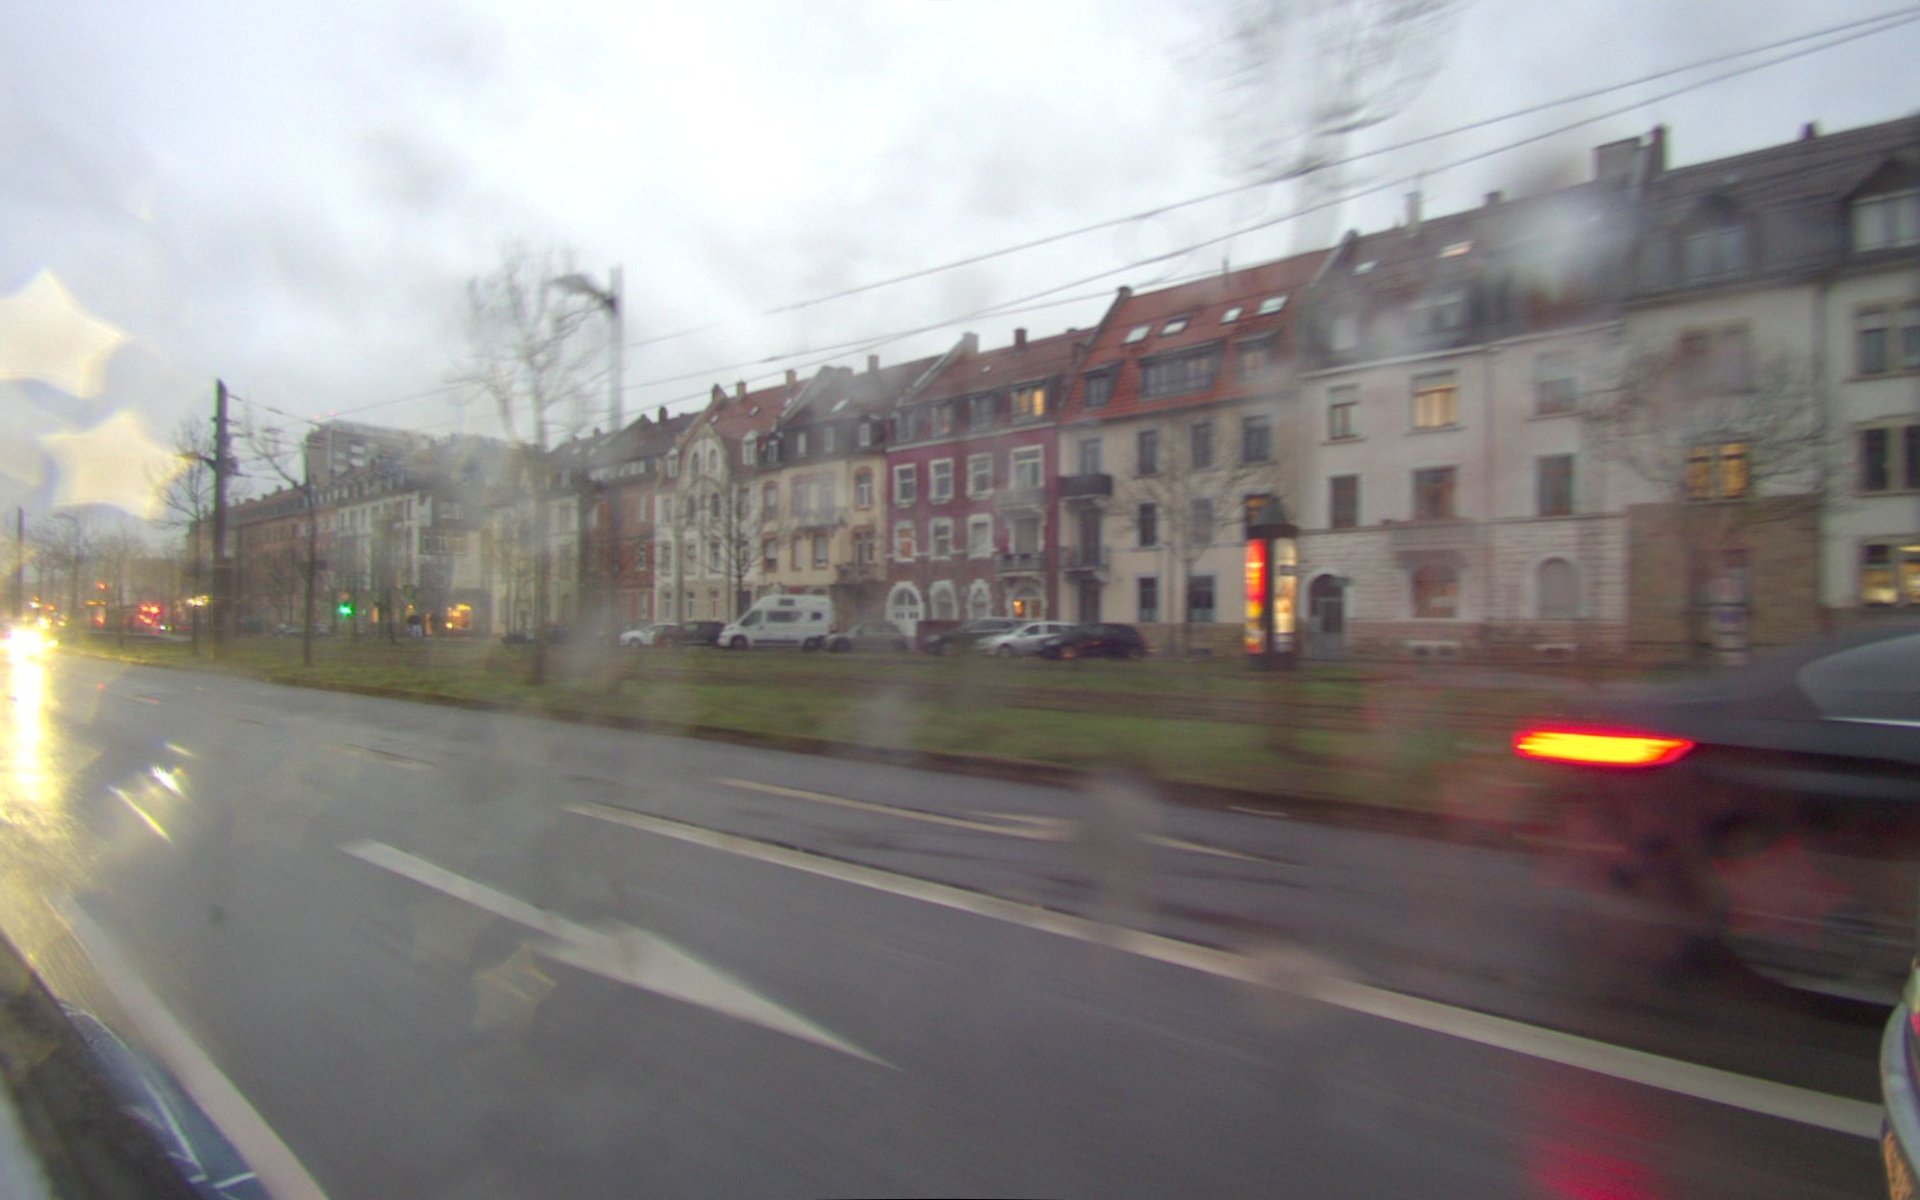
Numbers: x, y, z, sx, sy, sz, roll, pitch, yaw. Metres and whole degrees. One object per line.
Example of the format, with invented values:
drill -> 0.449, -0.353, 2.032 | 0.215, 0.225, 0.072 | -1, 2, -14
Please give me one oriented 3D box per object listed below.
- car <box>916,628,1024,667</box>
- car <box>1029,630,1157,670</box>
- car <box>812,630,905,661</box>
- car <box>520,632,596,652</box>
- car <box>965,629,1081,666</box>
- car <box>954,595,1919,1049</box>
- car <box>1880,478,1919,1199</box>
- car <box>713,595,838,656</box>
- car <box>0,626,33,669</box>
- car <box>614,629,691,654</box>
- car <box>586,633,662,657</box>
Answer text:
car -> 0.376, 1.888, 40.335 | 3.933, 1.497, 2.005 | 1, -2, -14
car -> 4.567, 1.721, 35.080 | 3.935, 1.342, 2.004 | 1, -2, -11
car -> -4.519, 2.002, 44.750 | 3.935, 1.342, 2.004 | 1, -2, -11
car -> -24.076, 2.526, 60.776 | 3.935, 1.178, 2.004 | 1, -2, -10
car -> 2.315, 1.756, 37.855 | 3.935, 1.342, 2.004 | 1, -2, -11
car -> 2.388, 0.732, 4.932 | 4.821, 1.441, 1.791 | -1, -1, 40
car -> 3.295, 0.558, 0.522 | 4.050, 1.612, 1.791 | -1, -1, 40
car -> -8.787, 1.234, 48.631 | 5.776, 2.819, 2.003 | 0, -2, -6
car -> -35.541, 1.718, 37.227 | 4.052, 1.508, 1.790 | -1, -1, 42
car -> -16.896, 2.294, 55.713 | 3.933, 1.342, 2.005 | 1, -2, -13
car -> -19.239, 2.592, 58.154 | 3.933, 1.342, 2.005 | 1, -2, -13
